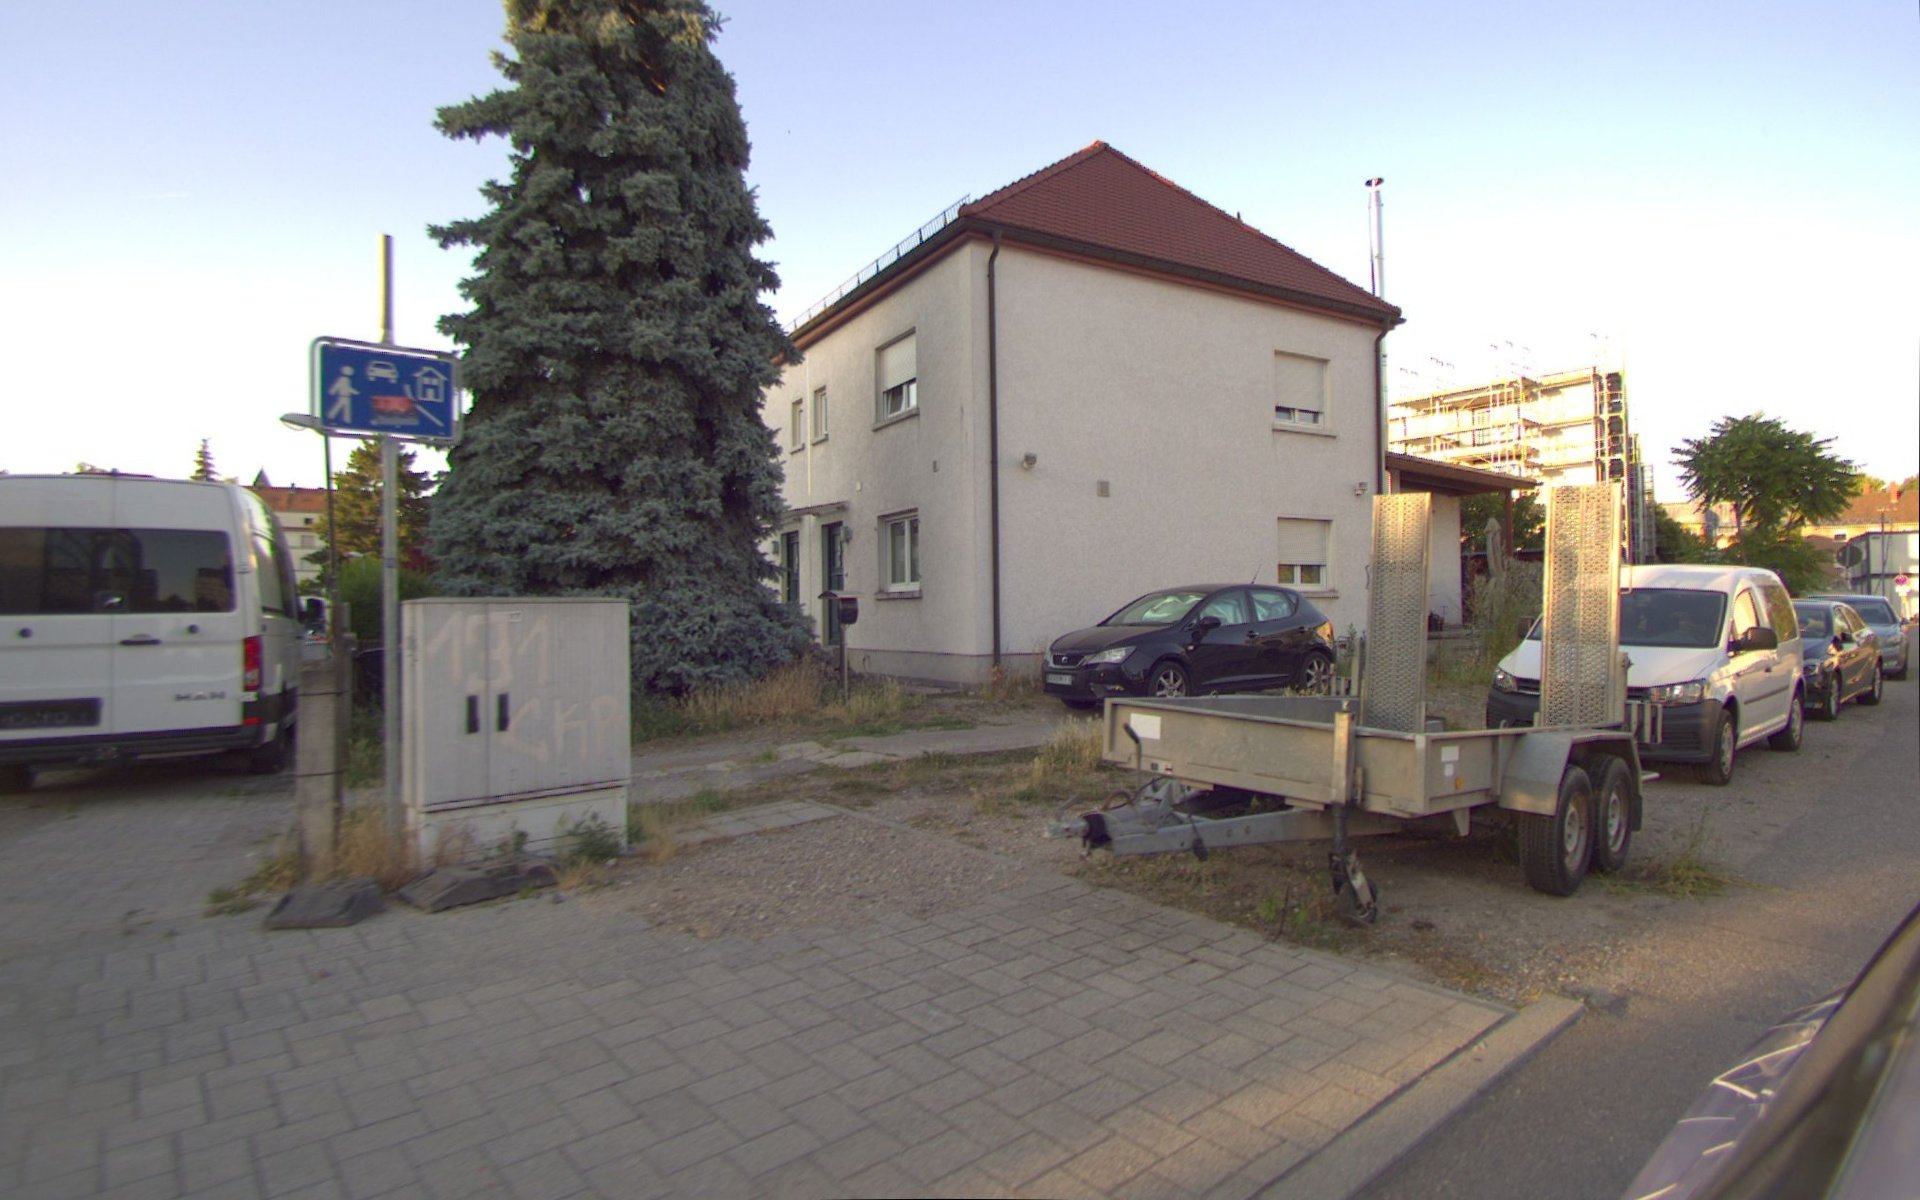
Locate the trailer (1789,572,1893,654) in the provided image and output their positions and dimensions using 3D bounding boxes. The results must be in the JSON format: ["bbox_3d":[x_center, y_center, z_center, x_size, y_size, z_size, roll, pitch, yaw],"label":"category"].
[{"bbox_3d":[21.508,0.267,24.632,1.731,1.800,4.860,1,1,43],"label":"trailer"}]

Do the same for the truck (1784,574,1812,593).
[{"bbox_3d":[101.117,-1.983,122.139,1.826,2.129,3.701,-4,-2,29],"label":"truck"}]

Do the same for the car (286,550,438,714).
[{"bbox_3d":[-10.905,0.576,18.676,2.011,2.547,5.586,2,-2,-29],"label":"car"}]

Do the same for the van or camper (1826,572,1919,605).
[{"bbox_3d":[84.147,-1.007,93.159,6.440,2.675,2.373,-4,-3,39],"label":"van or camper"}]

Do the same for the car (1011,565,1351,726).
[{"bbox_3d":[2.646,0.418,11.835,3.828,1.538,1.642,-2,1,-33],"label":"car"}]

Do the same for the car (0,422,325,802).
[{"bbox_3d":[-7.705,0.153,10.019,2.011,2.728,5.586,2,-2,-29],"label":"car"}]

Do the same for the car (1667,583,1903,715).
[{"bbox_3d":[11.257,0.568,13.721,4.014,1.538,1.708,0,0,-39],"label":"car"}]

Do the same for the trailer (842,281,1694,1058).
[{"bbox_3d":[2.058,0.201,5.430,5.133,2.240,2.067,0,0,-42],"label":"trailer"}]

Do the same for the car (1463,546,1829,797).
[{"bbox_3d":[6.618,0.468,9.567,4.331,1.854,1.774,-2,1,-40],"label":"car"}]

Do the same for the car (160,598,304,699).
[{"bbox_3d":[-12.655,0.785,17.814,1.708,1.496,4.138,-2,0,-31],"label":"car"}]

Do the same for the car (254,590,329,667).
[{"bbox_3d":[-21.283,0.872,32.303,1.808,2.203,4.469,-2,0,-33],"label":"car"}]

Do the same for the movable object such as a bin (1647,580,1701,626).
[{"bbox_3d":[38.689,0.147,54.741,2.060,2.302,8.254,0,0,37],"label":"movable object such as a bin"}]

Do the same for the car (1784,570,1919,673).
[{"bbox_3d":[17.309,0.347,19.533,1.806,1.746,4.850,1,1,43],"label":"car"}]

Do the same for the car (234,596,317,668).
[{"bbox_3d":[-17.905,0.809,26.584,1.648,1.674,4.100,-2,0,-33],"label":"car"}]
